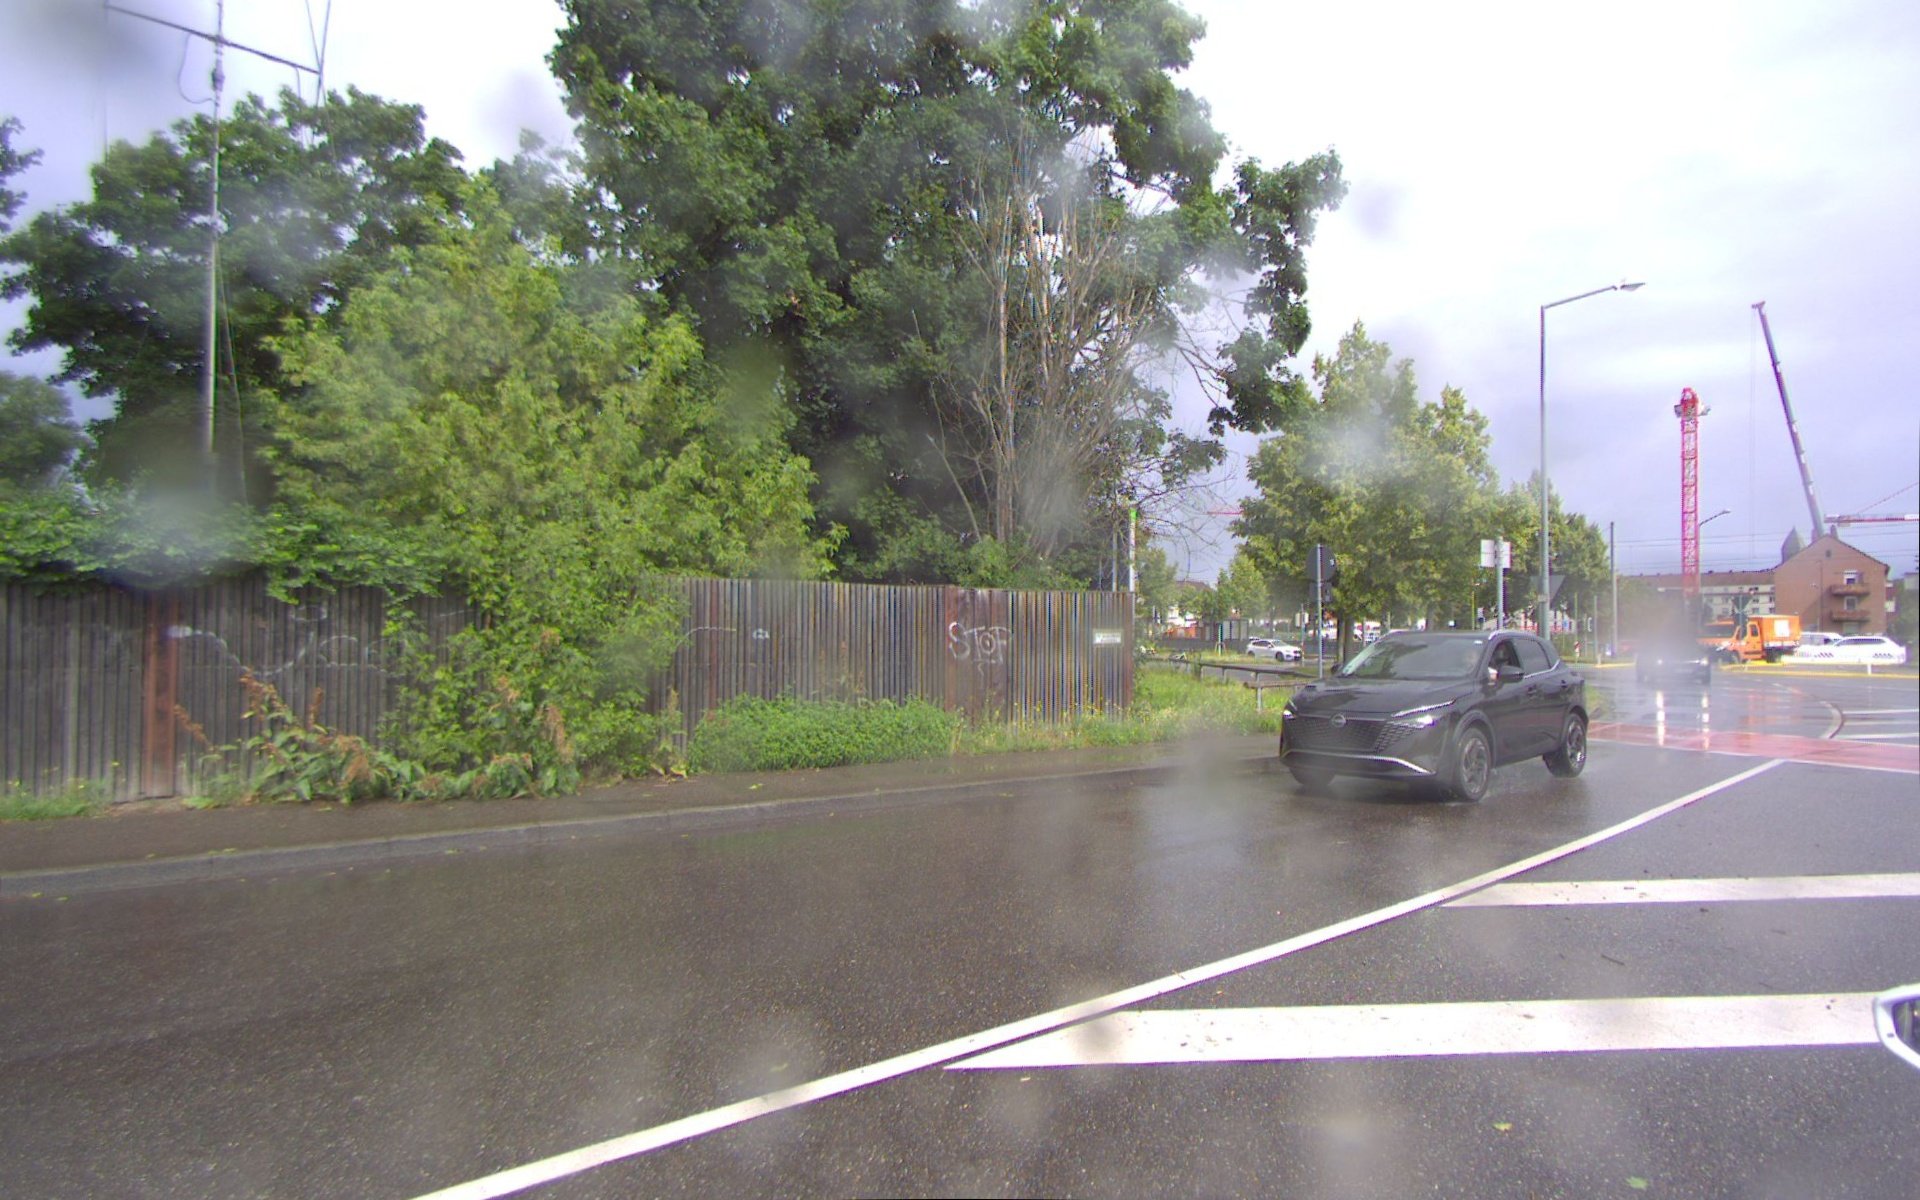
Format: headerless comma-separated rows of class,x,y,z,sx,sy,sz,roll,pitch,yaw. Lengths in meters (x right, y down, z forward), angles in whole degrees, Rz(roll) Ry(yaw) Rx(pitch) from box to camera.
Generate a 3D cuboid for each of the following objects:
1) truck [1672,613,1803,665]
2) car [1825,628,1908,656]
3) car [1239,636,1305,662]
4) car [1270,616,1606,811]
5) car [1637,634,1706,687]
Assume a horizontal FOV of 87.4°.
truck,41.624,2.074,53.770,6.985,2.685,2.318,1,-1,-22
car,54.975,2.525,60.966,3.443,1.605,1.565,0,-1,29
car,21.491,3.340,69.275,1.613,1.649,4.373,1,-1,-32
car,5.209,1.075,10.719,4.077,1.685,1.720,2,-4,-41
car,23.992,1.988,33.954,1.542,1.670,3.647,0,-1,29
